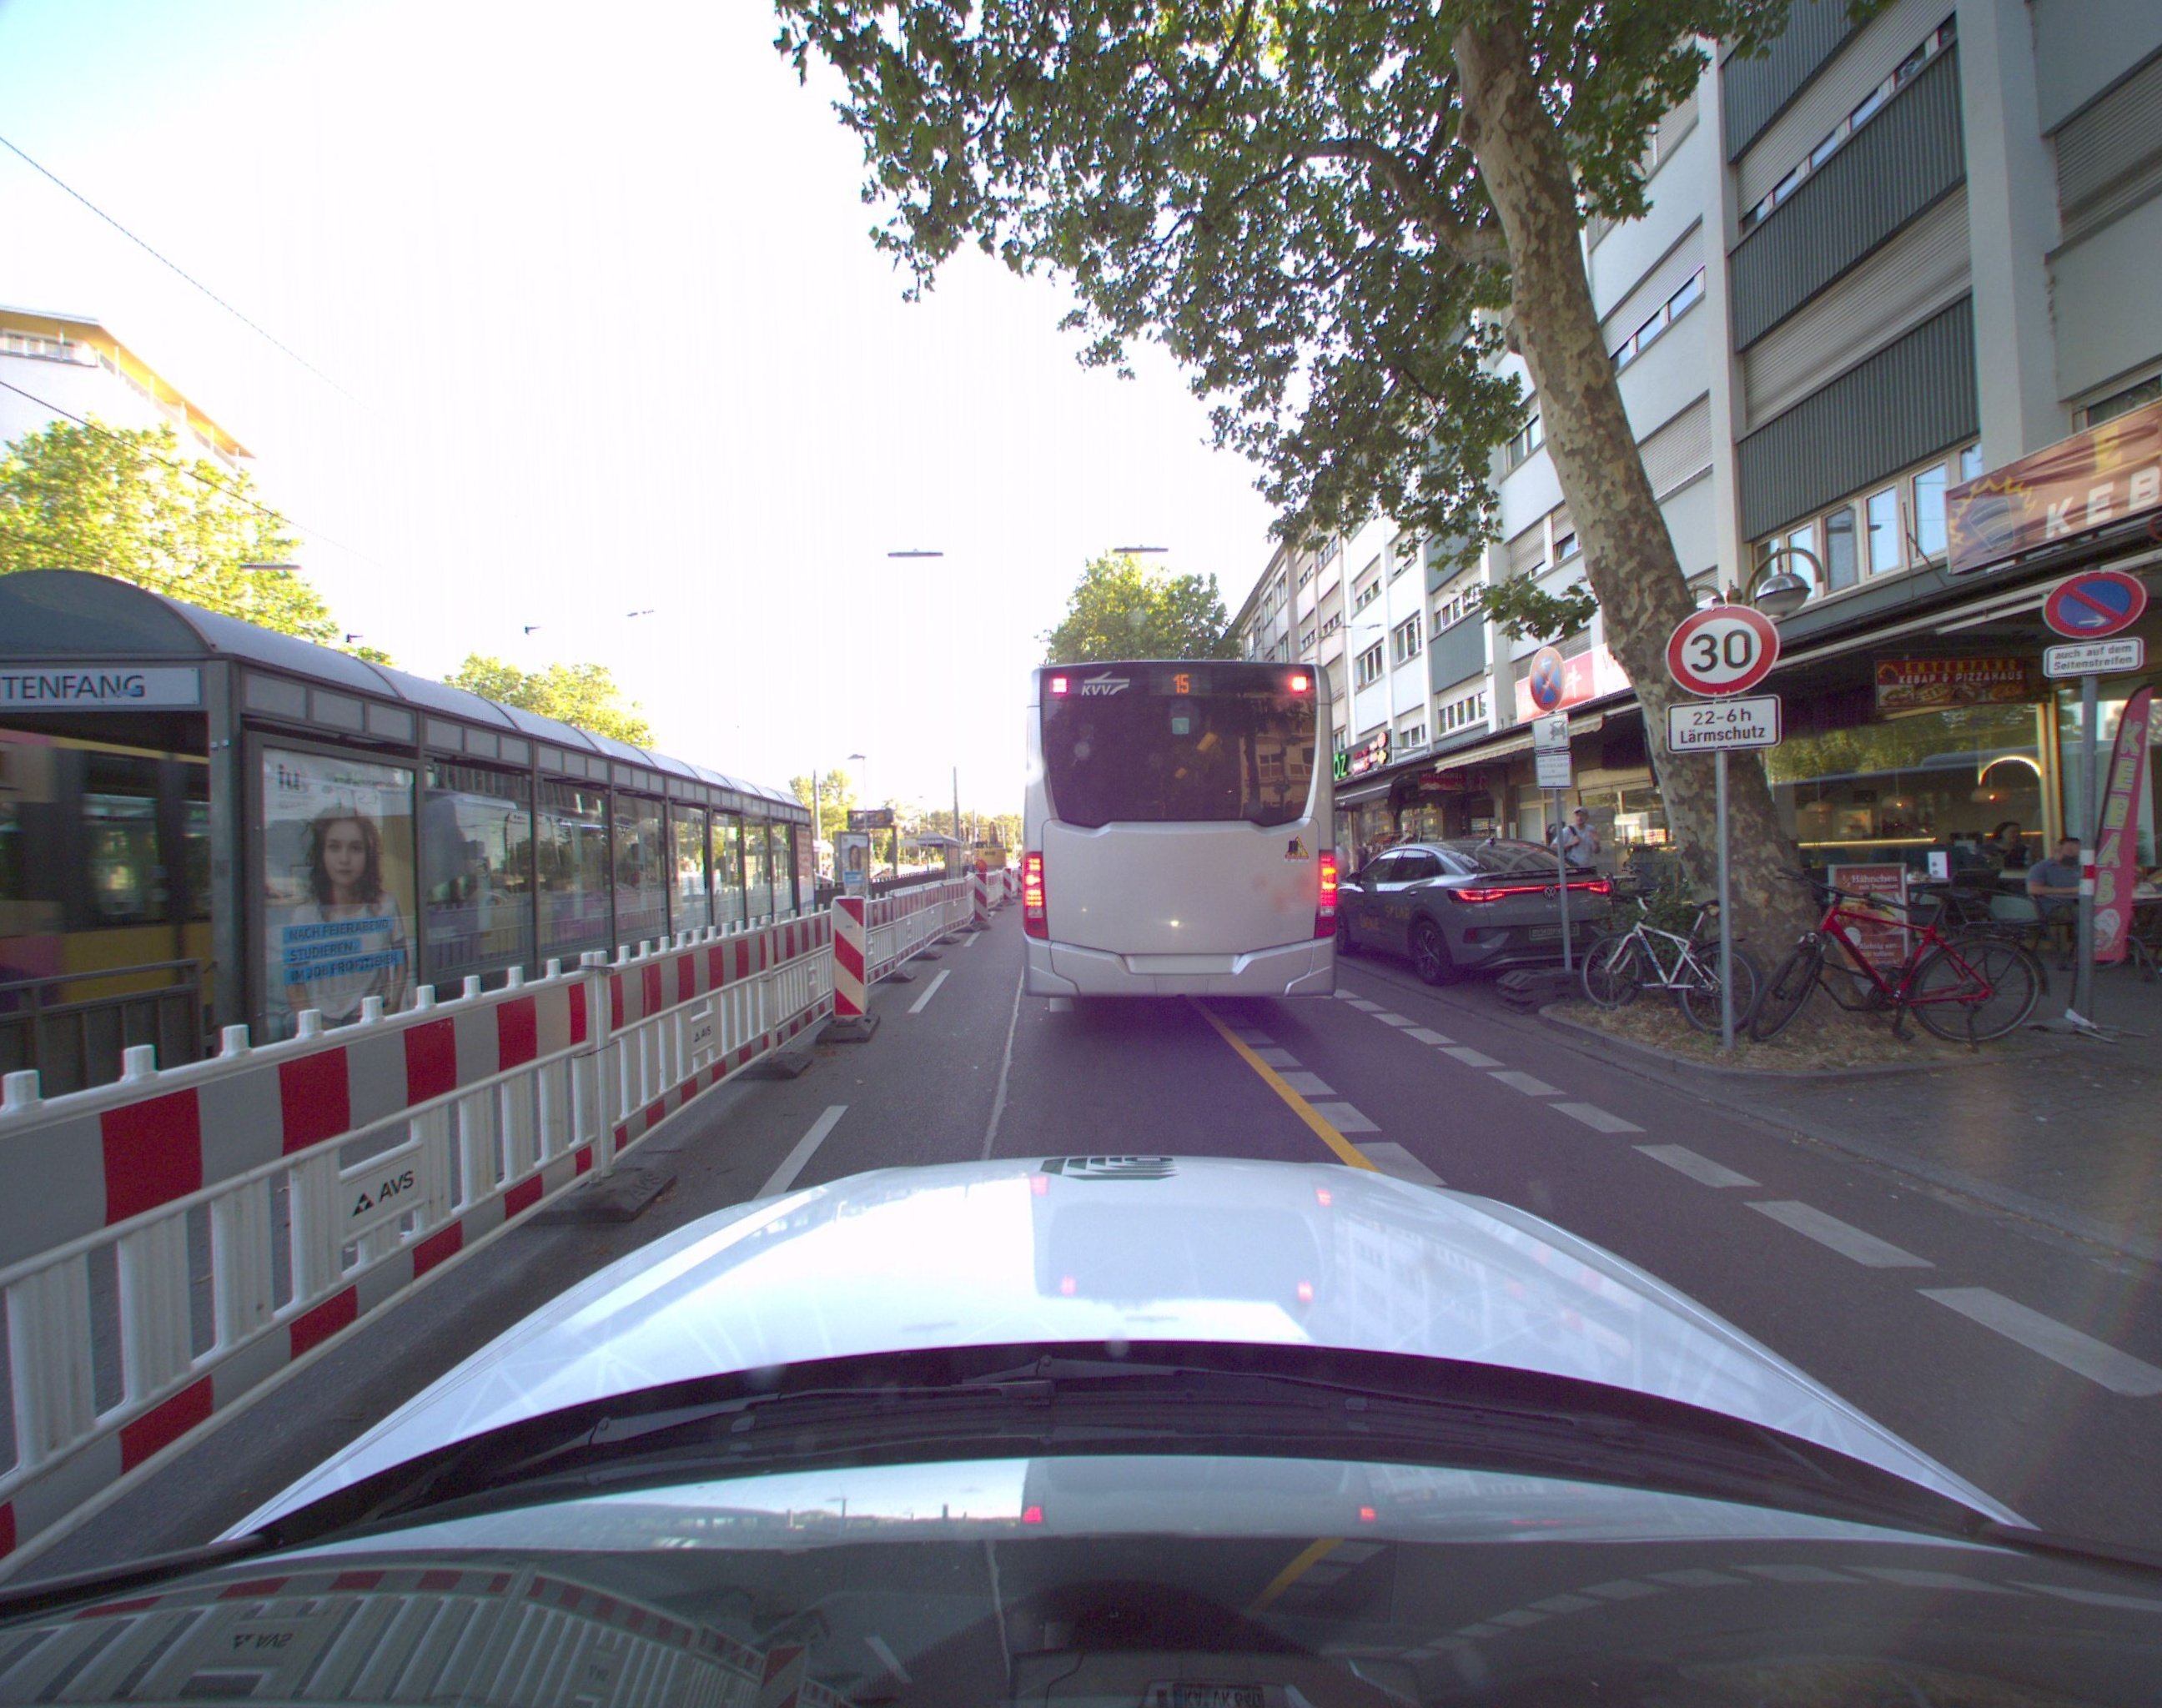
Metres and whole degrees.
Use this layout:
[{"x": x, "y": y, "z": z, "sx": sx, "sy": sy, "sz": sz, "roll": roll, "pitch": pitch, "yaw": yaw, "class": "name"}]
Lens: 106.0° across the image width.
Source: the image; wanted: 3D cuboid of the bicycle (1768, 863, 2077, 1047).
[{"x": 5.499, "y": 0.671, "z": 5.374, "sx": 1.450, "sy": 1.066, "sz": 0.297, "roll": -6, "pitch": 2, "yaw": 13, "class": "bicycle"}]

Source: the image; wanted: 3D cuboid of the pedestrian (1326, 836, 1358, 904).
[{"x": 7.896, "y": 0.472, "z": 24.680, "sx": 0.688, "sy": 2.014, "sz": 0.696, "roll": -2, "pitch": -1, "yaw": 0, "class": "pedestrian"}]

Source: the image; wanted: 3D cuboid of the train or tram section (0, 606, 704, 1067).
[{"x": -8.688, "y": -0.091, "z": 11.290, "sx": 2.812, "sy": 3.487, "sz": 10.320, "roll": -2, "pitch": 0, "yaw": -5, "class": "train or tram section"}]

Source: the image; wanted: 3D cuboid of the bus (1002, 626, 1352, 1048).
[{"x": 0.922, "y": -0.125, "z": 11.366, "sx": 2.598, "sy": 3.170, "sz": 10.297, "roll": -1, "pitch": 0, "yaw": 2, "class": "bus"}]

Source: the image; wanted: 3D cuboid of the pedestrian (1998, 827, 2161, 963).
[{"x": 9.628, "y": 0.379, "z": 7.852, "sx": 0.673, "sy": 1.203, "sz": 0.706, "roll": -5, "pitch": -1, "yaw": 11, "class": "pedestrian"}]

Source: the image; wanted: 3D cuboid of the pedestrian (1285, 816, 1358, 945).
[{"x": 3.914, "y": 0.427, "z": 13.271, "sx": 0.718, "sy": 2.013, "sz": 0.762, "roll": -3, "pitch": -1, "yaw": -43, "class": "pedestrian"}]

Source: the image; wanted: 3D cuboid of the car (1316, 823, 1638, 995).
[{"x": 4.609, "y": 0.558, "z": 10.317, "sx": 1.736, "sy": 1.597, "sz": 4.294, "roll": -4, "pitch": 0, "yaw": -3, "class": "car"}]

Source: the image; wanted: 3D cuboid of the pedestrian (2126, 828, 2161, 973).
[{"x": 9.566, "y": 0.383, "z": 6.815, "sx": 0.612, "sy": 1.243, "sz": 0.714, "roll": -5, "pitch": -1, "yaw": 11, "class": "pedestrian"}]

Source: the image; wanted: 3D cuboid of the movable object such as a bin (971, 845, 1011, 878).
[{"x": -7.041, "y": 0.592, "z": 64.011, "sx": 2.800, "sy": 2.462, "sz": 3.995, "roll": -2, "pitch": 0, "yaw": -3, "class": "movable object such as a bin"}]

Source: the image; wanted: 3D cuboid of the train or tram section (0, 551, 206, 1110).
[{"x": -7.969, "y": -0.150, "z": 1.054, "sx": 2.829, "sy": 3.487, "sz": 10.327, "roll": -2, "pitch": 0, "yaw": -3, "class": "train or tram section"}]

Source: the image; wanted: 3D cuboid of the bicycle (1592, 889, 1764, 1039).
[{"x": 4.486, "y": 0.784, "z": 6.193, "sx": 0.294, "sy": 0.927, "sz": 1.127, "roll": -6, "pitch": 2, "yaw": -8, "class": "bicycle"}]

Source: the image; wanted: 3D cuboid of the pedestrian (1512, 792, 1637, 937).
[{"x": 6.885, "y": 0.145, "z": 11.435, "sx": 1.018, "sy": 1.890, "sz": 1.123, "roll": -2, "pitch": -1, "yaw": 1, "class": "pedestrian"}]

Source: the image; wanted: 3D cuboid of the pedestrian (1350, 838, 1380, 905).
[{"x": 8.679, "y": 0.533, "z": 24.924, "sx": 0.610, "sy": 2.014, "sz": 0.696, "roll": -2, "pitch": -1, "yaw": 0, "class": "pedestrian"}]
